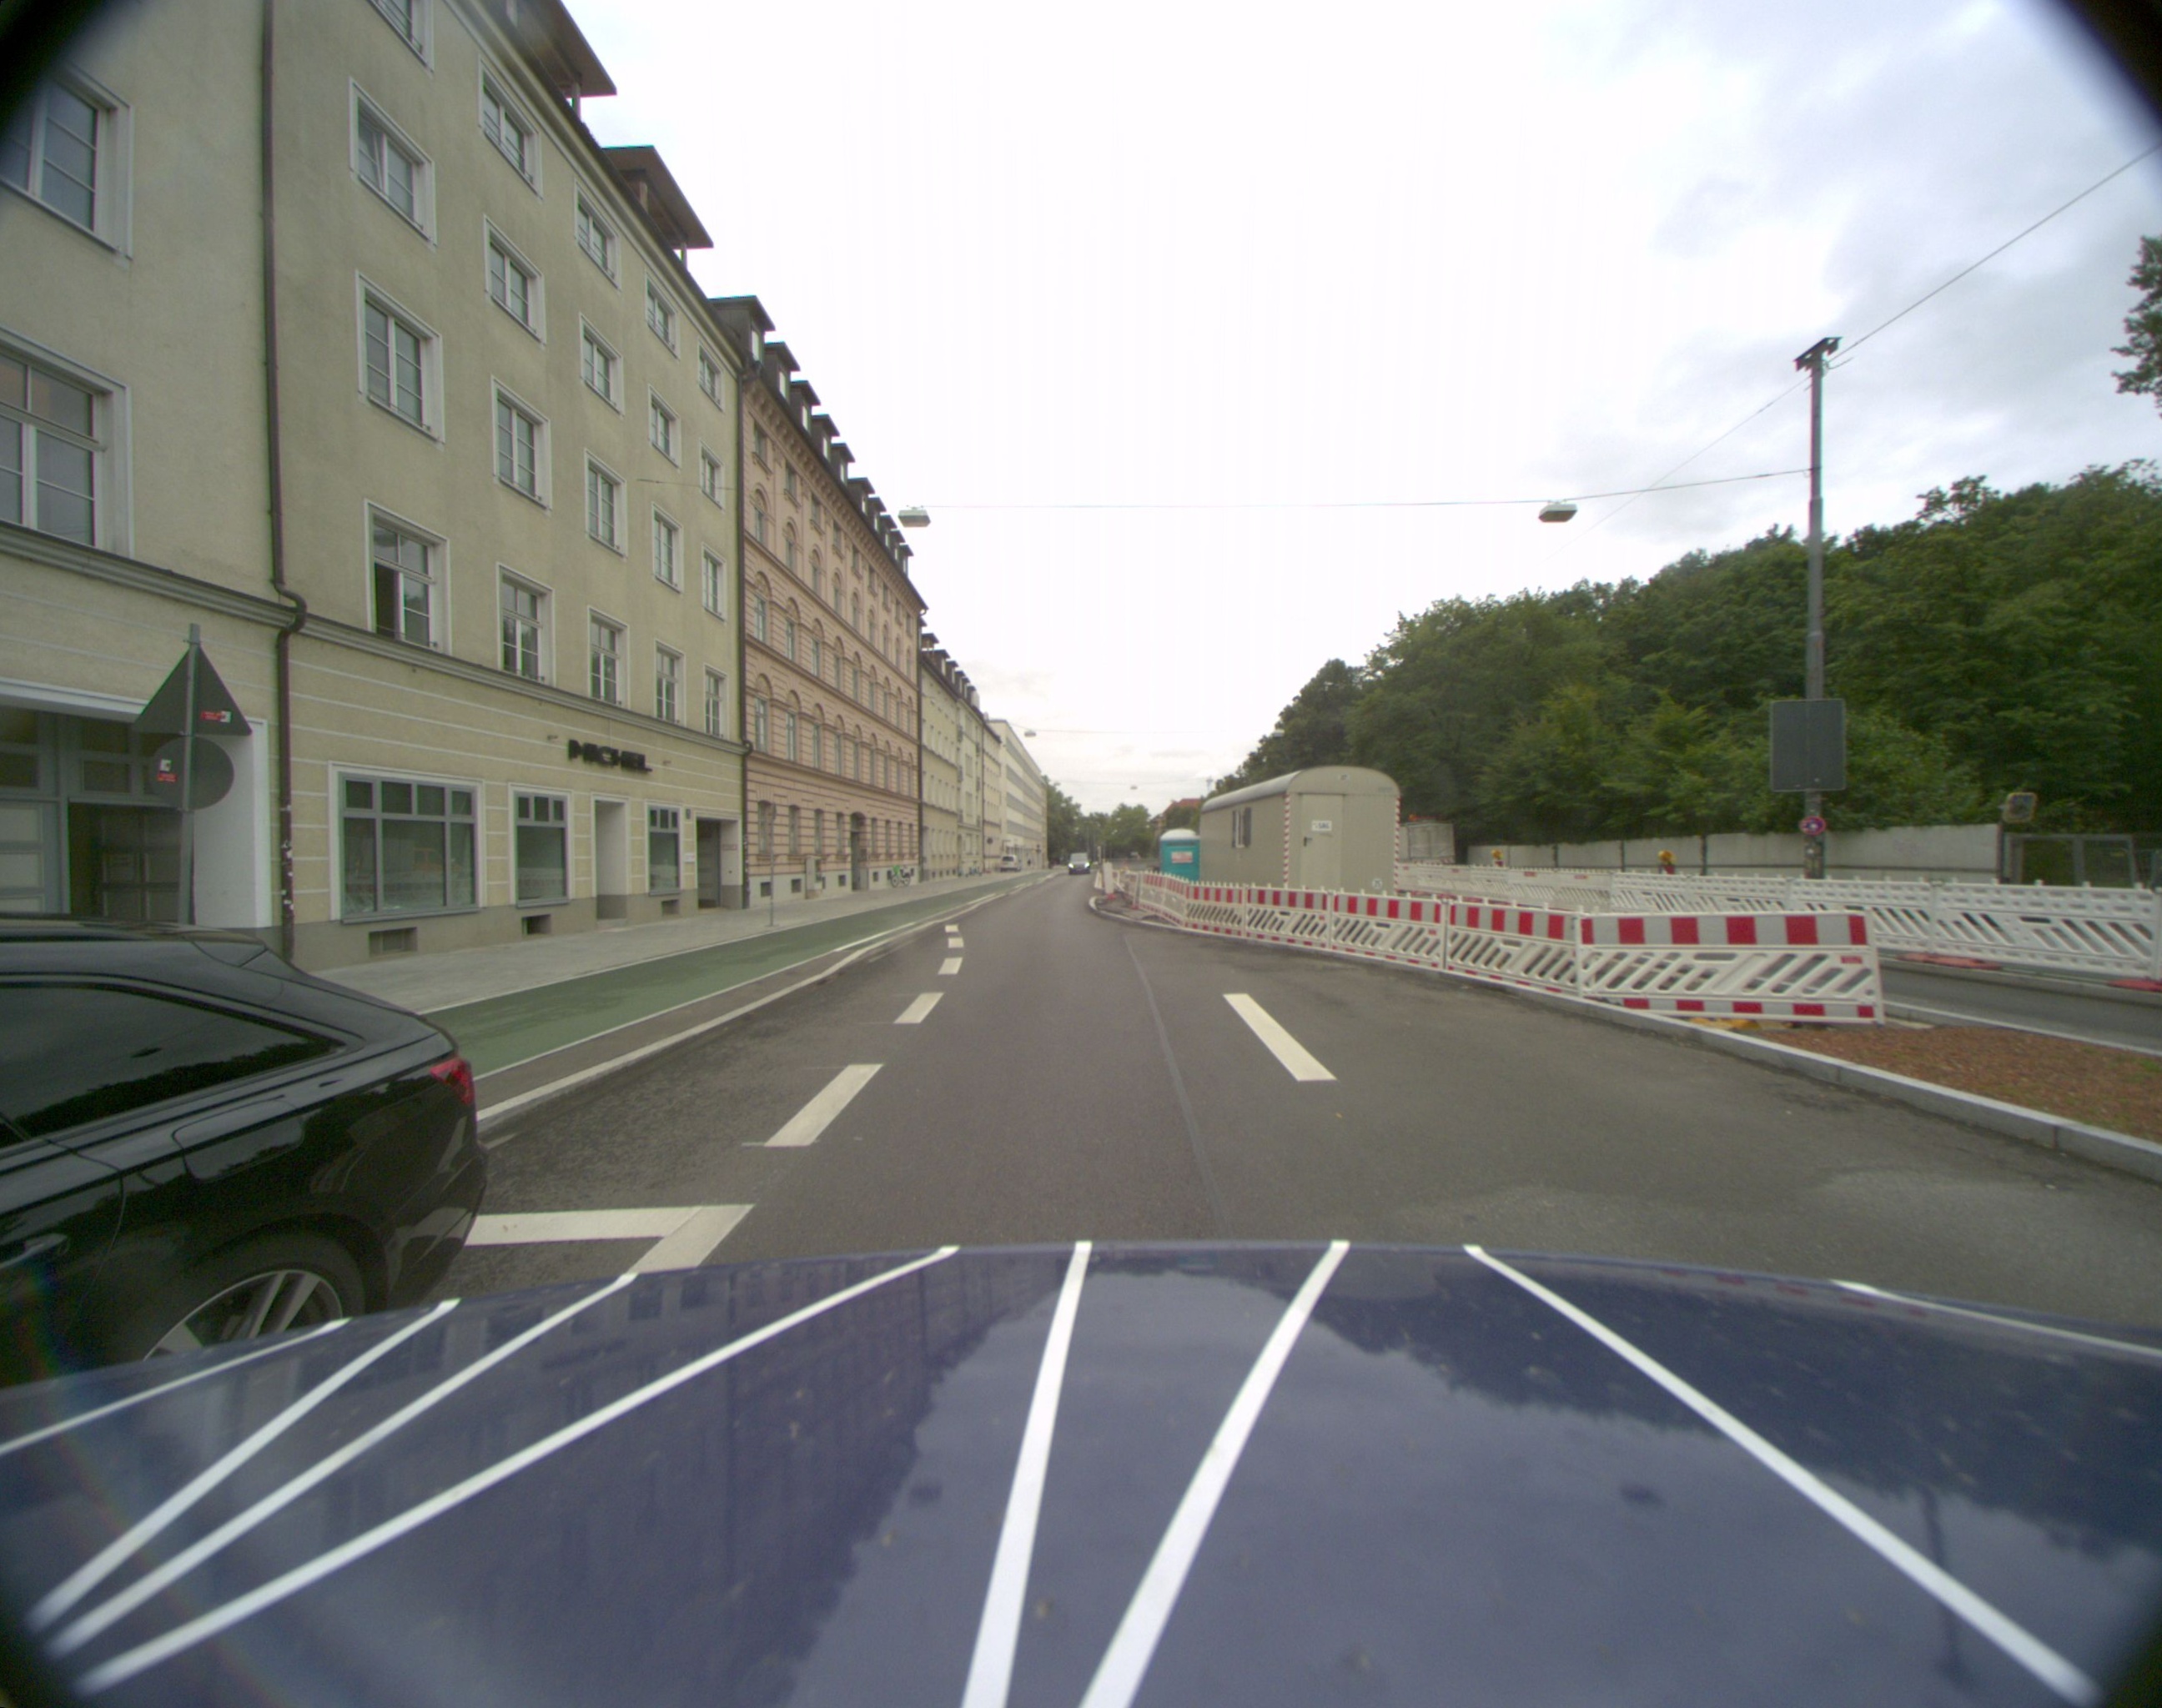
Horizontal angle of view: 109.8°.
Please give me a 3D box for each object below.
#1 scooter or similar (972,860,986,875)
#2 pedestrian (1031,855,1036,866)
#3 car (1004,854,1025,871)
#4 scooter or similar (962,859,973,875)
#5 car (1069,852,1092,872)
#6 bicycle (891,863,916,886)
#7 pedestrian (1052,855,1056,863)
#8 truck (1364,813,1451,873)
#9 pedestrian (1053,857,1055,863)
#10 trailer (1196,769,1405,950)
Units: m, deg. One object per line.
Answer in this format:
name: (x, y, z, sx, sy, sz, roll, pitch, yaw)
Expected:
scooter or similar: (-8.496, 1.135, 63.474, 1.121, 1.224, 0.246, 1, 1, -32)
pedestrian: (-6.847, 0.938, 108.895, 0.666, 1.626, 0.737, -1, 1, 1)
car: (-7.073, 0.887, 81.153, 1.737, 1.740, 4.435, -1, 0, 2)
scooter or similar: (-8.746, 0.972, 58.597, 0.246, 1.224, 1.121, 2, 1, 27)
car: (-0.064, 0.752, 69.493, 1.998, 1.738, 4.000, -1, 0, 0)
bicycle: (-9.310, 1.066, 40.010, 0.426, 1.167, 1.734, 0, 0, 19)
pedestrian: (-5.586, 0.990, 154.830, 0.754, 1.610, 0.704, 0, 1, 2)
truck: (16.190, -0.495, 38.046, 1.998, 2.712, 5.871, -1, 0, 2)
pedestrian: (-5.357, 1.157, 150.711, 0.368, 1.239, 0.470, 0, 1, 2)
trailer: (4.520, 0.092, 17.411, 2.233, 3.224, 7.516, -1, 0, -3)
